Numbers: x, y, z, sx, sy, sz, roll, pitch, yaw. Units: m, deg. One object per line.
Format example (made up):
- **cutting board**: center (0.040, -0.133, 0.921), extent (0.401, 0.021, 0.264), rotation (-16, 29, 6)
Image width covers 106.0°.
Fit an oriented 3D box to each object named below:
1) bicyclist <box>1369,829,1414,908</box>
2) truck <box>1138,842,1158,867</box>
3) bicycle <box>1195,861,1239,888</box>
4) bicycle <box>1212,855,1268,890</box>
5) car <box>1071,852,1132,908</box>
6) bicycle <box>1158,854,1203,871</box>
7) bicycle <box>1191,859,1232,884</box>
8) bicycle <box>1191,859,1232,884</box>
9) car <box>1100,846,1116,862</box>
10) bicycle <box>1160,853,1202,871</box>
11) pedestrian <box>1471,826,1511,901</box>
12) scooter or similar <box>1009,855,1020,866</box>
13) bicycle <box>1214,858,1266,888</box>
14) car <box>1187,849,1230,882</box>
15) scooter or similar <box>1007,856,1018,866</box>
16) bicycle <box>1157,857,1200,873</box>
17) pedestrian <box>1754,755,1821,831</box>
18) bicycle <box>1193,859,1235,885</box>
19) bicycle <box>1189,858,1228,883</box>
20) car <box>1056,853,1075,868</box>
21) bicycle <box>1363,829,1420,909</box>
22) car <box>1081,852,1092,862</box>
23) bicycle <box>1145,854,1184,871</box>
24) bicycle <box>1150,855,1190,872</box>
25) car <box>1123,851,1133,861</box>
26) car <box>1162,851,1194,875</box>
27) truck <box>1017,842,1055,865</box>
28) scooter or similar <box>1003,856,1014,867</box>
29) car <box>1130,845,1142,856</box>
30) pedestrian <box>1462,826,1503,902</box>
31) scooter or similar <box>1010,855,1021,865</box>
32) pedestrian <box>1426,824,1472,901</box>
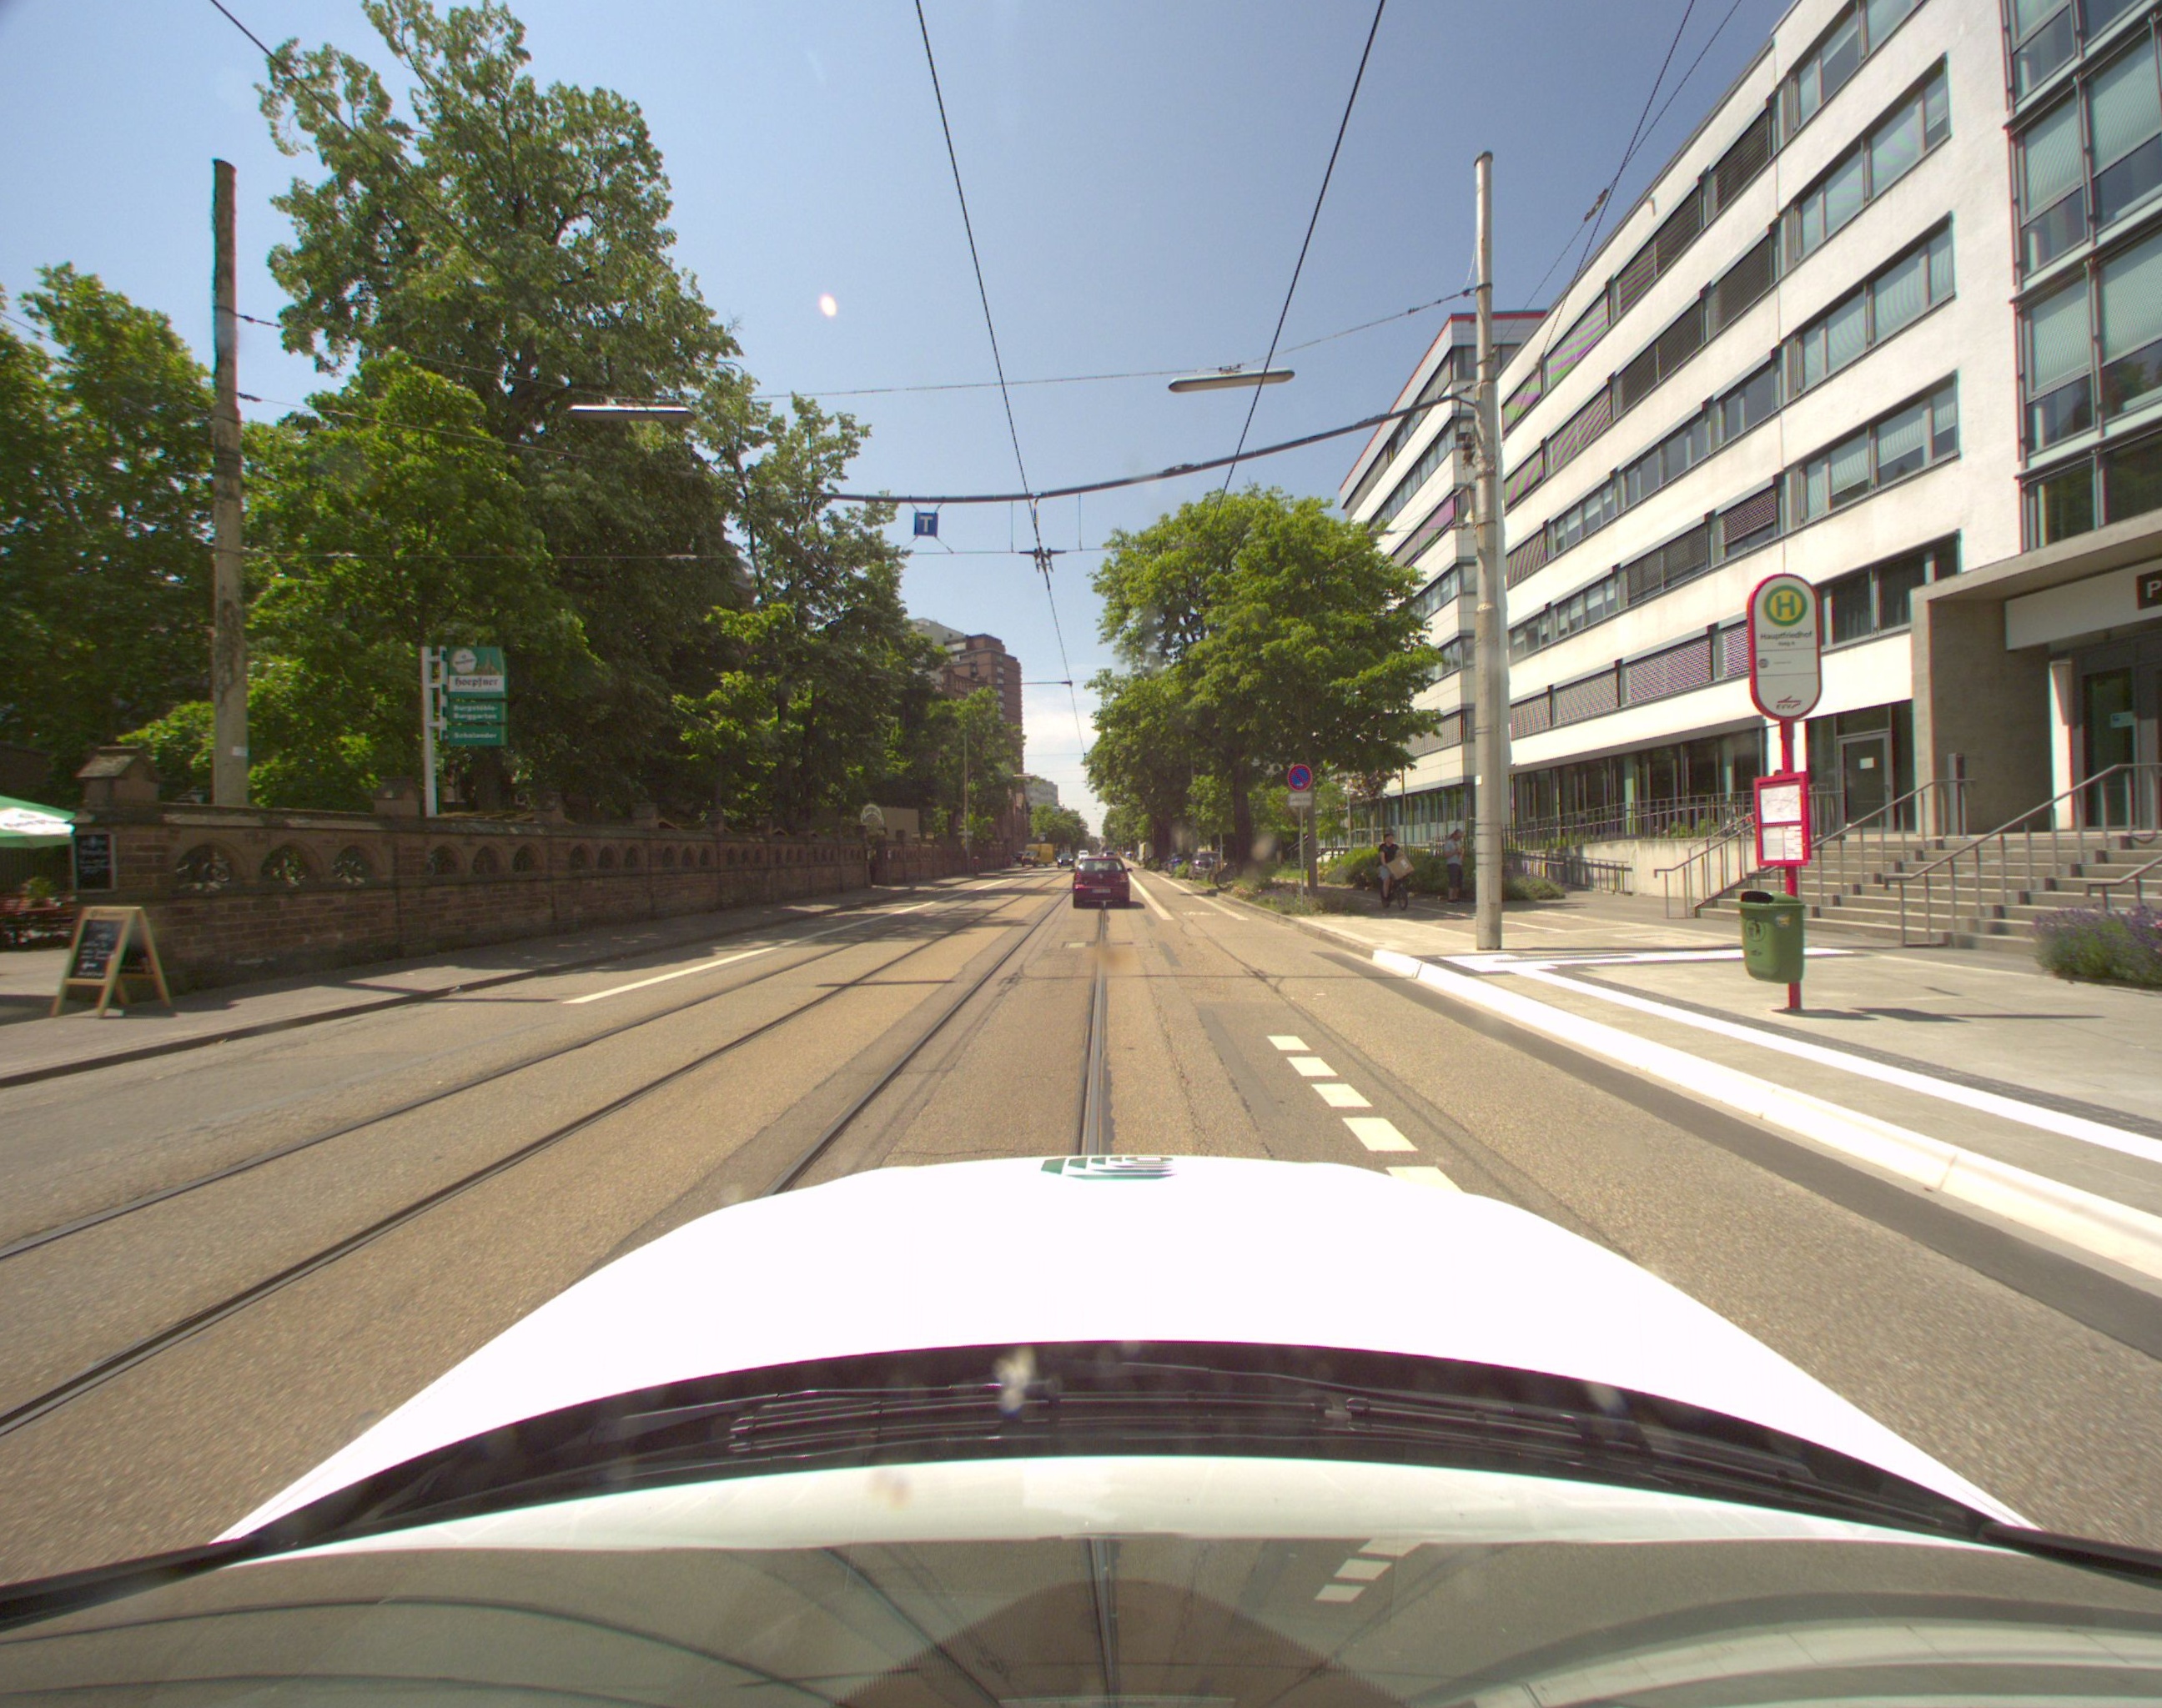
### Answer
- **bicyclist**: center (7.354, 0.338, 19.325), extent (0.693, 1.799, 0.889), rotation (-3, -1, 5)
- **truck**: center (7.487, 0.040, 91.387), extent (1.986, 2.662, 4.877), rotation (0, 0, 2)
- **bicycle**: center (5.774, 0.846, 34.584), extent (1.744, 1.085, 0.549), rotation (-2, 0, 1)
- **bicycle**: center (5.772, 0.658, 29.625), extent (1.876, 1.182, 0.694), rotation (-2, -1, 1)
- **car**: center (0.605, 0.704, 24.133), extent (1.613, 1.486, 4.001), rotation (-2, 0, 1)
- **bicycle**: center (7.633, 0.632, 62.537), extent (3.357, 1.313, 0.781), rotation (0, 0, -1)
- **bicycle**: center (5.836, 0.788, 36.427), extent (1.744, 1.085, 0.549), rotation (-2, 0, 1)
- **bicycle**: center (5.918, 0.775, 37.044), extent (1.744, 1.085, 0.549), rotation (-2, 0, 1)
- **car**: center (3.460, -0.062, 105.186), extent (1.987, 2.013, 3.999), rotation (0, 0, 0)
- **bicycle**: center (7.430, 0.587, 60.742), extent (3.060, 1.313, 0.781), rotation (0, 0, -1)
- **pedestrian**: center (9.629, 0.230, 19.127), extent (0.540, 1.715, 0.560), rotation (-3, -1, -28)
- **scooter or similar**: center (-7.229, 0.701, 89.056), extent (1.092, 1.155, 0.524), rotation (0, 0, -20)
- **bicycle**: center (6.005, 0.714, 30.780), extent (1.816, 1.085, 0.719), rotation (-2, -1, 5)
- **car**: center (6.482, 0.564, 41.807), extent (1.682, 1.503, 3.629), rotation (-3, 0, 2)
- **scooter or similar**: center (-7.425, 0.756, 88.203), extent (1.092, 1.155, 0.524), rotation (0, 0, -20)
- **bicycle**: center (7.102, 0.768, 59.556), extent (3.060, 1.154, 0.781), rotation (0, 0, -1)
- **pedestrian**: center (16.465, -1.413, 19.001), extent (0.875, 1.716, 0.808), rotation (0, 0, 0)
- **bicycle**: center (5.820, 0.785, 35.795), extent (1.744, 1.085, 0.549), rotation (-2, 0, 1)
- **bicycle**: center (5.913, 0.758, 37.783), extent (1.744, 1.085, 0.549), rotation (-2, 0, 1)
- **car**: center (-1.677, 0.640, 87.128), extent (1.764, 1.516, 4.002), rotation (-2, 0, 2)
- **bicycle**: center (7.350, 0.349, 19.365), extent (0.686, 1.785, 1.813), rotation (-3, -1, 5)
- **car**: center (1.032, 0.529, 155.068), extent (1.986, 1.854, 4.684), rotation (-2, 0, 2)
- **bicycle**: center (6.620, 0.671, 64.685), extent (3.060, 1.313, 0.781), rotation (0, 0, -1)
- **bicycle**: center (6.933, 0.726, 63.563), extent (3.060, 1.313, 0.781), rotation (0, 0, -1)
- **car**: center (8.151, 0.398, 140.559), extent (1.668, 1.656, 4.002), rotation (0, 0, 2)
- **car**: center (6.408, 0.563, 54.125), extent (1.682, 1.468, 3.881), rotation (-2, 0, 2)
- **truck**: center (-5.698, -0.080, 104.143), extent (2.351, 2.787, 7.353), rotation (-2, 0, 17)
- **scooter or similar**: center (-7.591, 0.812, 85.589), extent (1.092, 1.155, 0.524), rotation (0, 0, -20)
- **car**: center (8.367, -0.490, 123.240), extent (1.668, 1.656, 4.002), rotation (0, 0, 2)
- **pedestrian**: center (9.218, 0.231, 18.693), extent (0.540, 1.715, 0.560), rotation (-3, -1, -28)
- **scooter or similar**: center (-7.202, 0.669, 89.640), extent (1.092, 1.155, 0.524), rotation (0, 0, -20)
- **pedestrian**: center (8.862, 0.212, 19.611), extent (0.682, 1.796, 0.668), rotation (-3, 0, -30)
